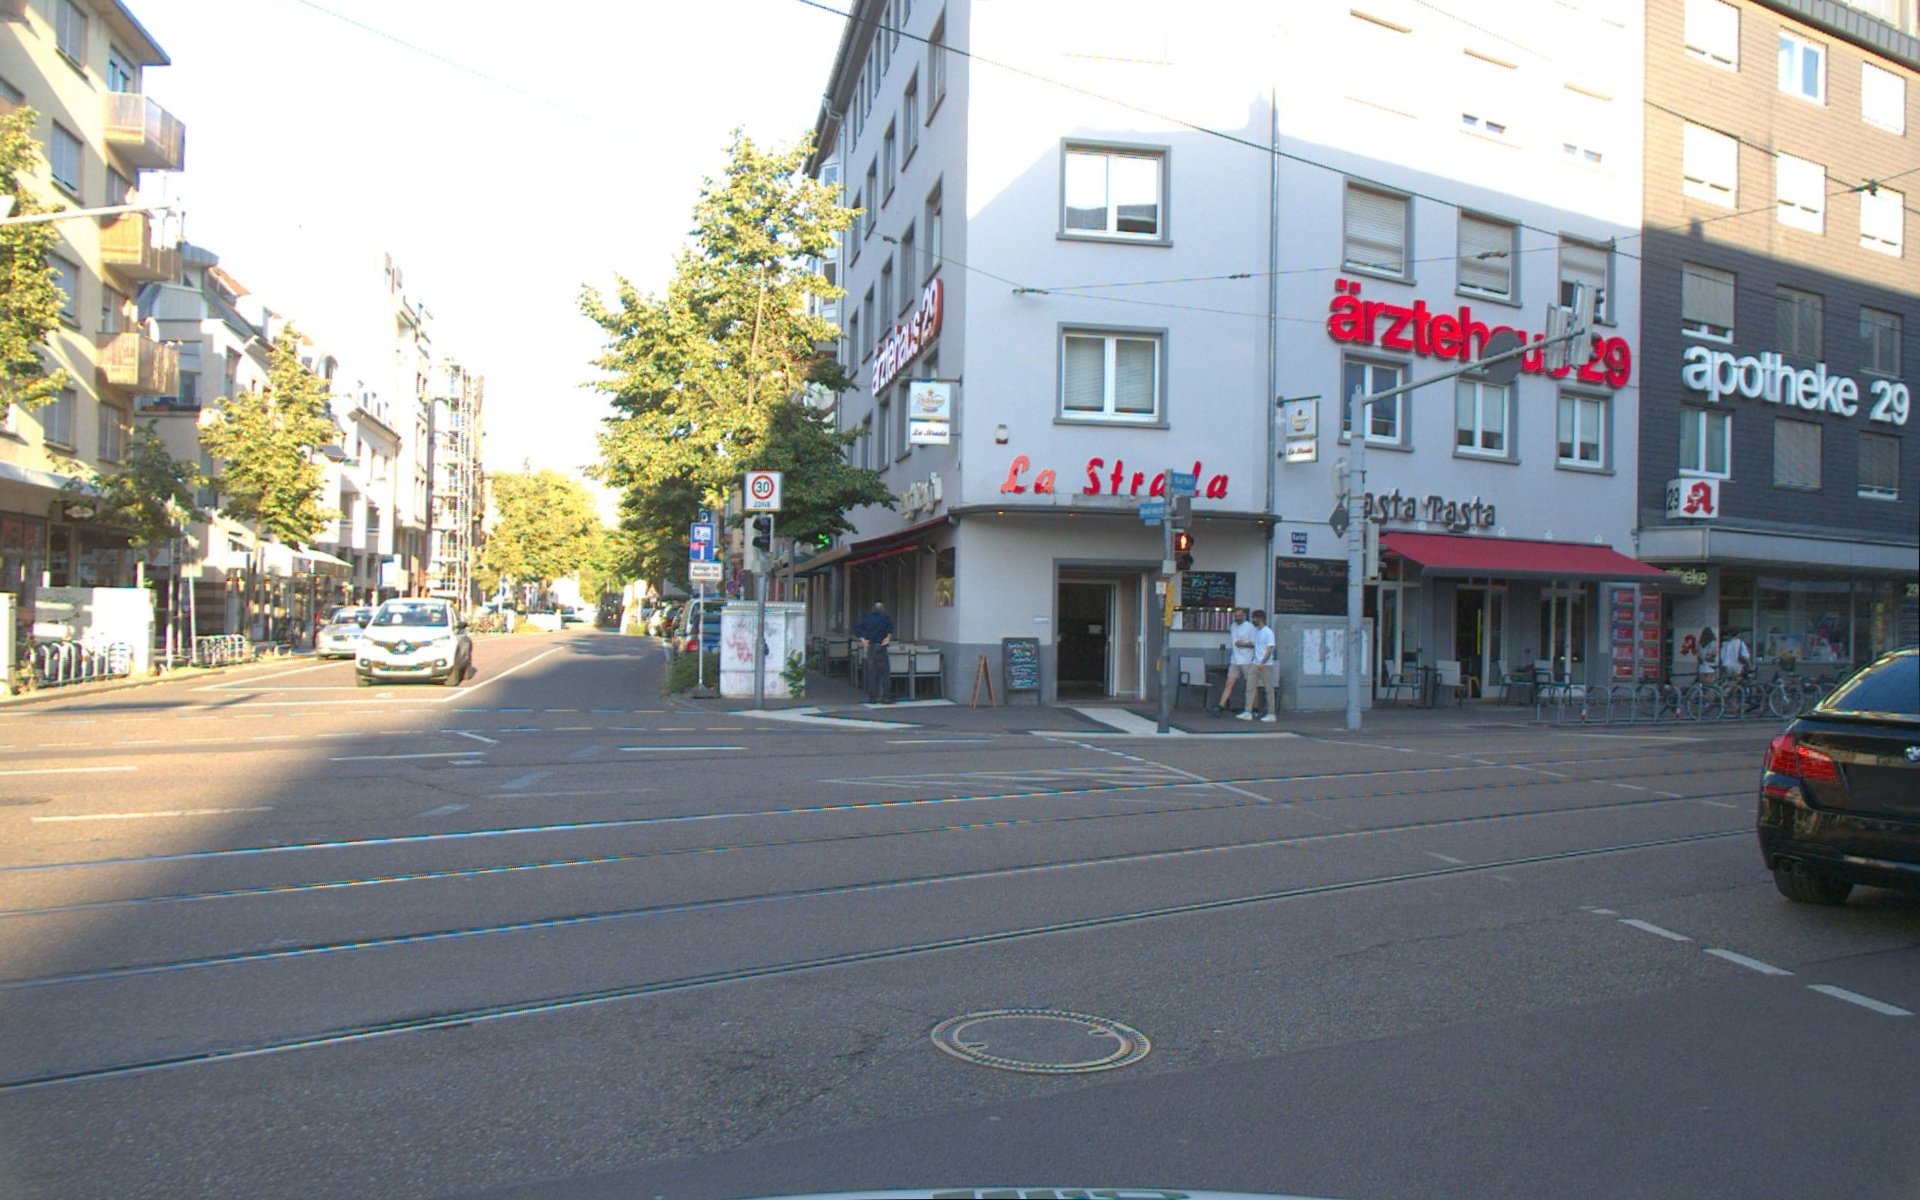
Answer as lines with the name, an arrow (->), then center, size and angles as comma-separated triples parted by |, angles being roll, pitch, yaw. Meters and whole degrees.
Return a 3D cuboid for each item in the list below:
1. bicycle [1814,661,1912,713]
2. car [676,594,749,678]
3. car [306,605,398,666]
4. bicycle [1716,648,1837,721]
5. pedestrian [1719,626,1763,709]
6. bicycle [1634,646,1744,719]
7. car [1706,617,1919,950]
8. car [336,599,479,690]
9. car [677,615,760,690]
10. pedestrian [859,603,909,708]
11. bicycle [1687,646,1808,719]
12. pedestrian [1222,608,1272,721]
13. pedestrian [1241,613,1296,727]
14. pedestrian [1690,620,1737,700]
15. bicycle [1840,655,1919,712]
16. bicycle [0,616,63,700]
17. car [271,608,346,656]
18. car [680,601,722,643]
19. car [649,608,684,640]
bicycle -> 18.985, 1.813, 34.802 | 0.450, 0.928, 1.790 | 0, 2, -33
car -> -6.184, 0.859, 41.565 | 1.609, 1.906, 3.600 | 4, -1, -8
car -> -16.550, 0.929, 45.175 | 1.802, 1.583, 3.768 | 0, 0, -12
bicycle -> 15.952, 1.635, 32.376 | 0.546, 1.245, 2.095 | 2, 2, -33
pedestrian -> 16.472, 1.410, 34.890 | 0.595, 1.729, 0.615 | 1, 0, -34
bicycle -> 13.682, 1.533, 31.094 | 0.546, 1.232, 1.875 | 2, 1, -33
car -> 6.105, 0.943, 9.270 | 4.427, 1.524, 1.930 | 3, -1, -43
car -> -10.244, 0.812, 30.932 | 2.071, 1.584, 4.000 | 0, -1, -12
car -> -5.086, 1.073, 34.994 | 1.609, 1.469, 3.600 | 1, -1, -8
pedestrian -> -1.258, 0.908, 27.366 | 0.699, 1.706, 0.701 | 1, -1, -11
bicycle -> 15.158, 1.570, 31.877 | 0.546, 1.245, 2.095 | 2, 1, -33
pedestrian -> 4.688, 1.040, 27.020 | 0.588, 1.810, 0.636 | 1, -1, -12
pedestrian -> 4.913, 1.108, 26.354 | 0.655, 1.775, 0.636 | 1, -1, -12
pedestrian -> 16.152, 1.274, 35.458 | 0.617, 1.690, 0.676 | 1, 0, -34
bicycle -> 19.734, 1.768, 35.109 | 0.483, 1.065, 1.816 | 0, 2, -33
bicycle -> -15.425, 0.878, 25.845 | 2.328, 1.275, 0.637 | 3, -2, -15
car -> -22.326, 1.093, 56.795 | 1.802, 1.584, 3.768 | 0, -1, -12
car -> -12.117, 1.039, 77.568 | 1.817, 1.825, 3.993 | 3, -1, -8
car -> -17.277, 1.398, 97.340 | 1.817, 1.825, 3.993 | 1, -1, -8
